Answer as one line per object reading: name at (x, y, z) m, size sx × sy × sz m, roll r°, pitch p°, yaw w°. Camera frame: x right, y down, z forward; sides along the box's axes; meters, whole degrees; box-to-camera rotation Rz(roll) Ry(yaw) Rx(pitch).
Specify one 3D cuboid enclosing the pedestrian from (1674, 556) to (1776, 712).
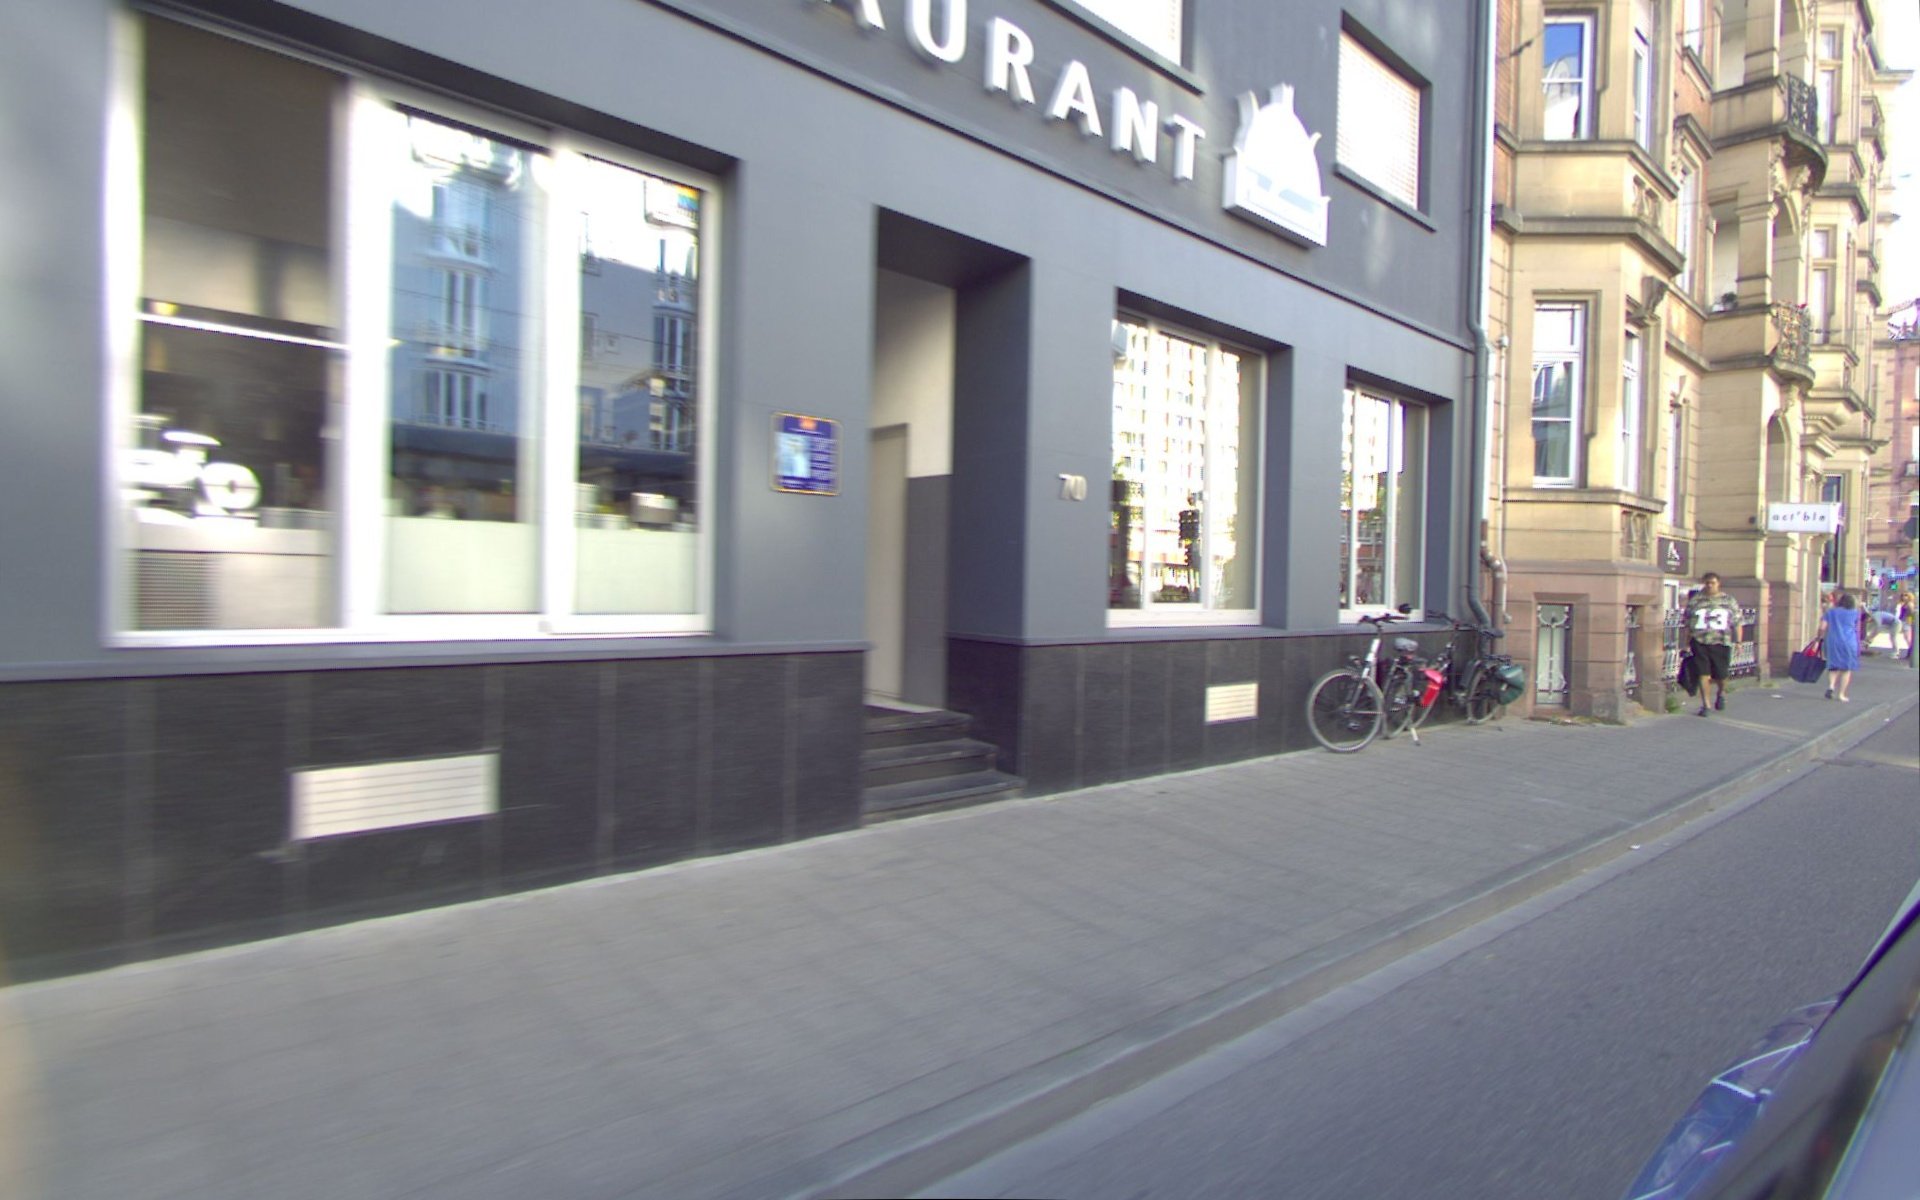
pedestrian at (9.556, 0.402, 12.644) m, size 0.784 × 1.846 × 0.802 m, roll 1°, pitch 2°, yaw -42°

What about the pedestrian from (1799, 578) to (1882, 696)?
pedestrian at (13.119, 0.533, 15.079) m, size 0.818 × 1.665 × 0.764 m, roll 1°, pitch 2°, yaw -43°

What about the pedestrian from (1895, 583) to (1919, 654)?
pedestrian at (24.205, 0.455, 25.537) m, size 0.707 × 1.742 × 0.795 m, roll -1°, pitch 3°, yaw -43°

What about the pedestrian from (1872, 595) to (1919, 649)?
pedestrian at (24.430, 0.561, 26.422) m, size 0.707 × 1.347 × 0.795 m, roll -1°, pitch 3°, yaw -43°

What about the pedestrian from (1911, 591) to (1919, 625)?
pedestrian at (52.680, 0.444, 55.278) m, size 1.065 × 1.829 × 1.024 m, roll 1°, pitch 1°, yaw -45°

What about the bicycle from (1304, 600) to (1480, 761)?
bicycle at (3.761, 0.635, 8.734) m, size 1.875 × 1.212 × 0.624 m, roll 1°, pitch 3°, yaw -43°

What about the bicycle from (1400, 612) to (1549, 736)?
bicycle at (5.116, 0.694, 10.014) m, size 1.771 × 1.083 × 0.593 m, roll 1°, pitch 3°, yaw -39°
